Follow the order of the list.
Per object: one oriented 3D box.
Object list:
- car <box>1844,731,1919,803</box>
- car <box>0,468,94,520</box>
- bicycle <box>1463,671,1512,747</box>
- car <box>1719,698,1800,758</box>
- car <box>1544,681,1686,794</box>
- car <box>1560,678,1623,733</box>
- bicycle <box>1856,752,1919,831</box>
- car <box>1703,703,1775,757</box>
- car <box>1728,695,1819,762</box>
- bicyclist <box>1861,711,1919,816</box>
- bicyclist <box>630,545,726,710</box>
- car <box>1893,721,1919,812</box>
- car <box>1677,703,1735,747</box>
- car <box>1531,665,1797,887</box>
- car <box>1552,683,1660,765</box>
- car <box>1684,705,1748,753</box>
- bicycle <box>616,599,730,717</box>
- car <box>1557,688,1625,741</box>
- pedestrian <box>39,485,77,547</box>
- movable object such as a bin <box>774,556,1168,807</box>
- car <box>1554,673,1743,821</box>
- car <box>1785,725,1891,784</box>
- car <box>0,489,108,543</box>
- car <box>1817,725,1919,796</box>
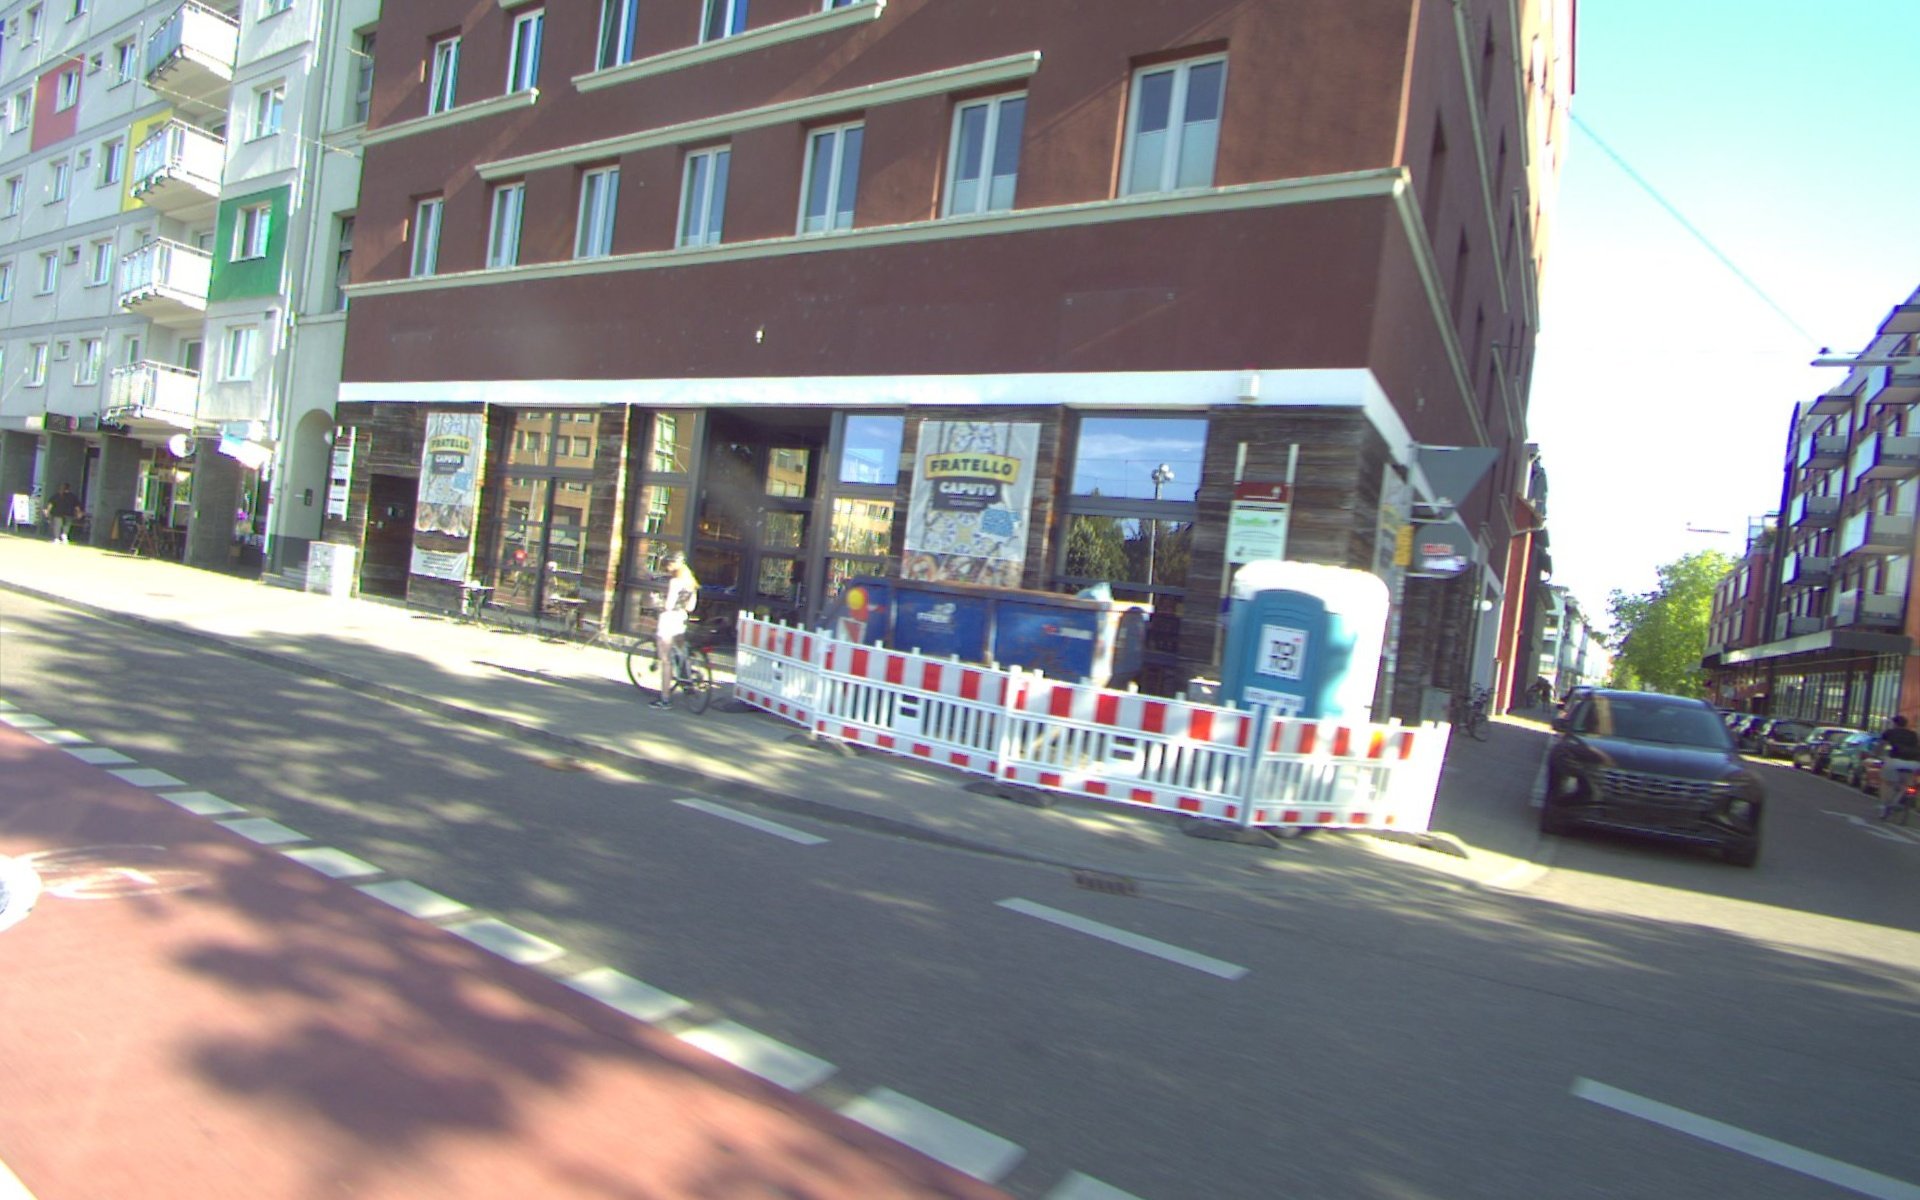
[{"bbox_3d":[22.304,3.950,23.420,1.860,1.486,3.995,7,-3,33],"label":"car"},{"bbox_3d":[-51.366,-5.940,55.583,2.222,2.036,4.739,7,-3,33],"label":"car"},{"bbox_3d":[11.782,2.446,22.422,0.677,1.509,2.263,7,-2,31],"label":"bicycle"},{"bbox_3d":[32.316,5.190,40.783,1.967,2.036,3.995,7,-3,33],"label":"car"},{"bbox_3d":[13.017,2.725,20.213,1.966,1.669,3.997,10,-1,31],"label":"car"},{"bbox_3d":[27.187,4.592,43.410,1.967,1.992,3.997,7,-3,31],"label":"car"},{"bbox_3d":[16.261,3.312,17.579,0.415,1.150,1.827,7,0,30],"label":"bicycle"},{"bbox_3d":[35.126,5.869,45.459,1.967,2.036,3.996,7,-3,32],"label":"car"},{"bbox_3d":[30.036,4.750,37.276,1.967,2.036,3.995,7,-3,32],"label":"car"},{"bbox_3d":[16.274,2.824,17.504,0.607,1.687,0.666,7,1,30],"label":"bicyclist"},{"bbox_3d":[-3.079,0.304,10.990,0.589,1.711,0.600,7,1,42],"label":"bicyclist"},{"bbox_3d":[19.931,3.408,19.405,1.967,1.771,3.992,7,-1,33],"label":"car"},{"bbox_3d":[40.911,6.838,55.246,1.967,2.036,3.997,7,-3,31],"label":"car"},{"bbox_3d":[7.782,1.788,11.501,1.962,1.810,4.305,5,-1,31],"label":"car"},{"bbox_3d":[16.094,3.058,25.249,1.966,1.592,3.994,7,-1,31],"label":"car"},{"bbox_3d":[38.341,6.555,51.109,1.967,2.036,3.997,7,-3,31],"label":"car"},{"bbox_3d":[-3.201,0.614,11.127,1.662,1.099,0.317,7,0,44],"label":"bicycle"},{"bbox_3d":[24.640,4.503,39.405,1.967,1.669,3.997,7,-3,31],"label":"car"},{"bbox_3d":[-24.498,-2.275,27.323,0.565,1.603,0.555,7,2,32],"label":"pedestrian"},{"bbox_3d":[0.140,0.754,10.520,3.418,1.866,1.950,8,0,26],"label":"movable object such as a bin"},{"bbox_3d":[10.397,2.167,15.509,1.967,1.677,4.120,7,-1,31],"label":"car"},{"bbox_3d":[26.829,4.695,30.874,1.731,1.391,3.995,7,-3,33],"label":"car"},{"bbox_3d":[-48.916,-4.497,53.975,1.940,2.036,4.370,7,-3,33],"label":"car"},{"bbox_3d":[24.645,4.292,27.155,1.613,1.544,3.995,7,-3,33],"label":"car"}]
